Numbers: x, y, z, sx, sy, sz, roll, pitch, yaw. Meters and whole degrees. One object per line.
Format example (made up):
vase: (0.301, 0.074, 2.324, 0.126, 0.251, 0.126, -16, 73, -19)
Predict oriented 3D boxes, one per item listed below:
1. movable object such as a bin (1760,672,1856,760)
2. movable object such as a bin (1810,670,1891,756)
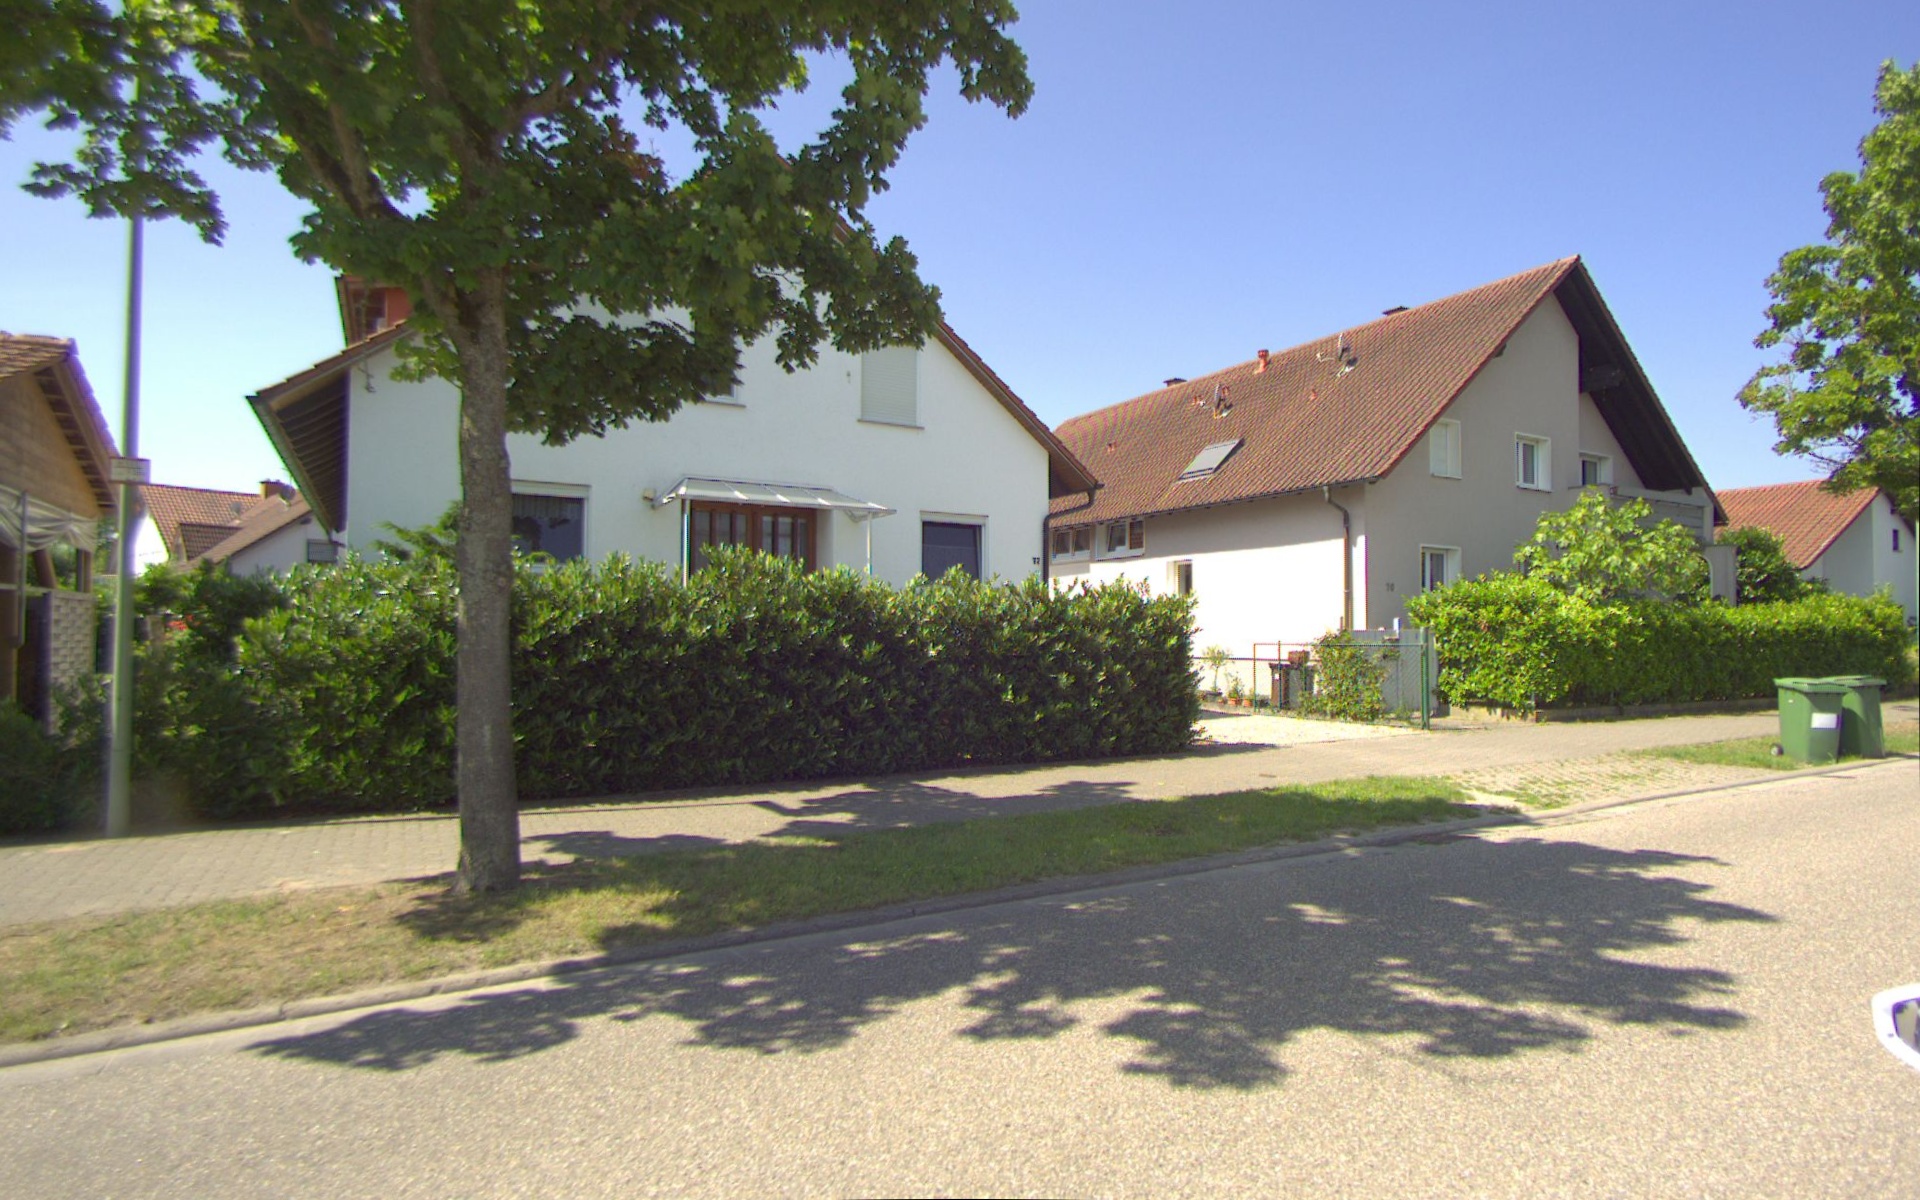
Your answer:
movable object such as a bin: (11.141, 1.508, 13.211, 0.627, 1.093, 0.715, 0, -2, -5)
movable object such as a bin: (11.879, 1.492, 13.405, 0.589, 1.093, 0.575, 1, -2, -17)
